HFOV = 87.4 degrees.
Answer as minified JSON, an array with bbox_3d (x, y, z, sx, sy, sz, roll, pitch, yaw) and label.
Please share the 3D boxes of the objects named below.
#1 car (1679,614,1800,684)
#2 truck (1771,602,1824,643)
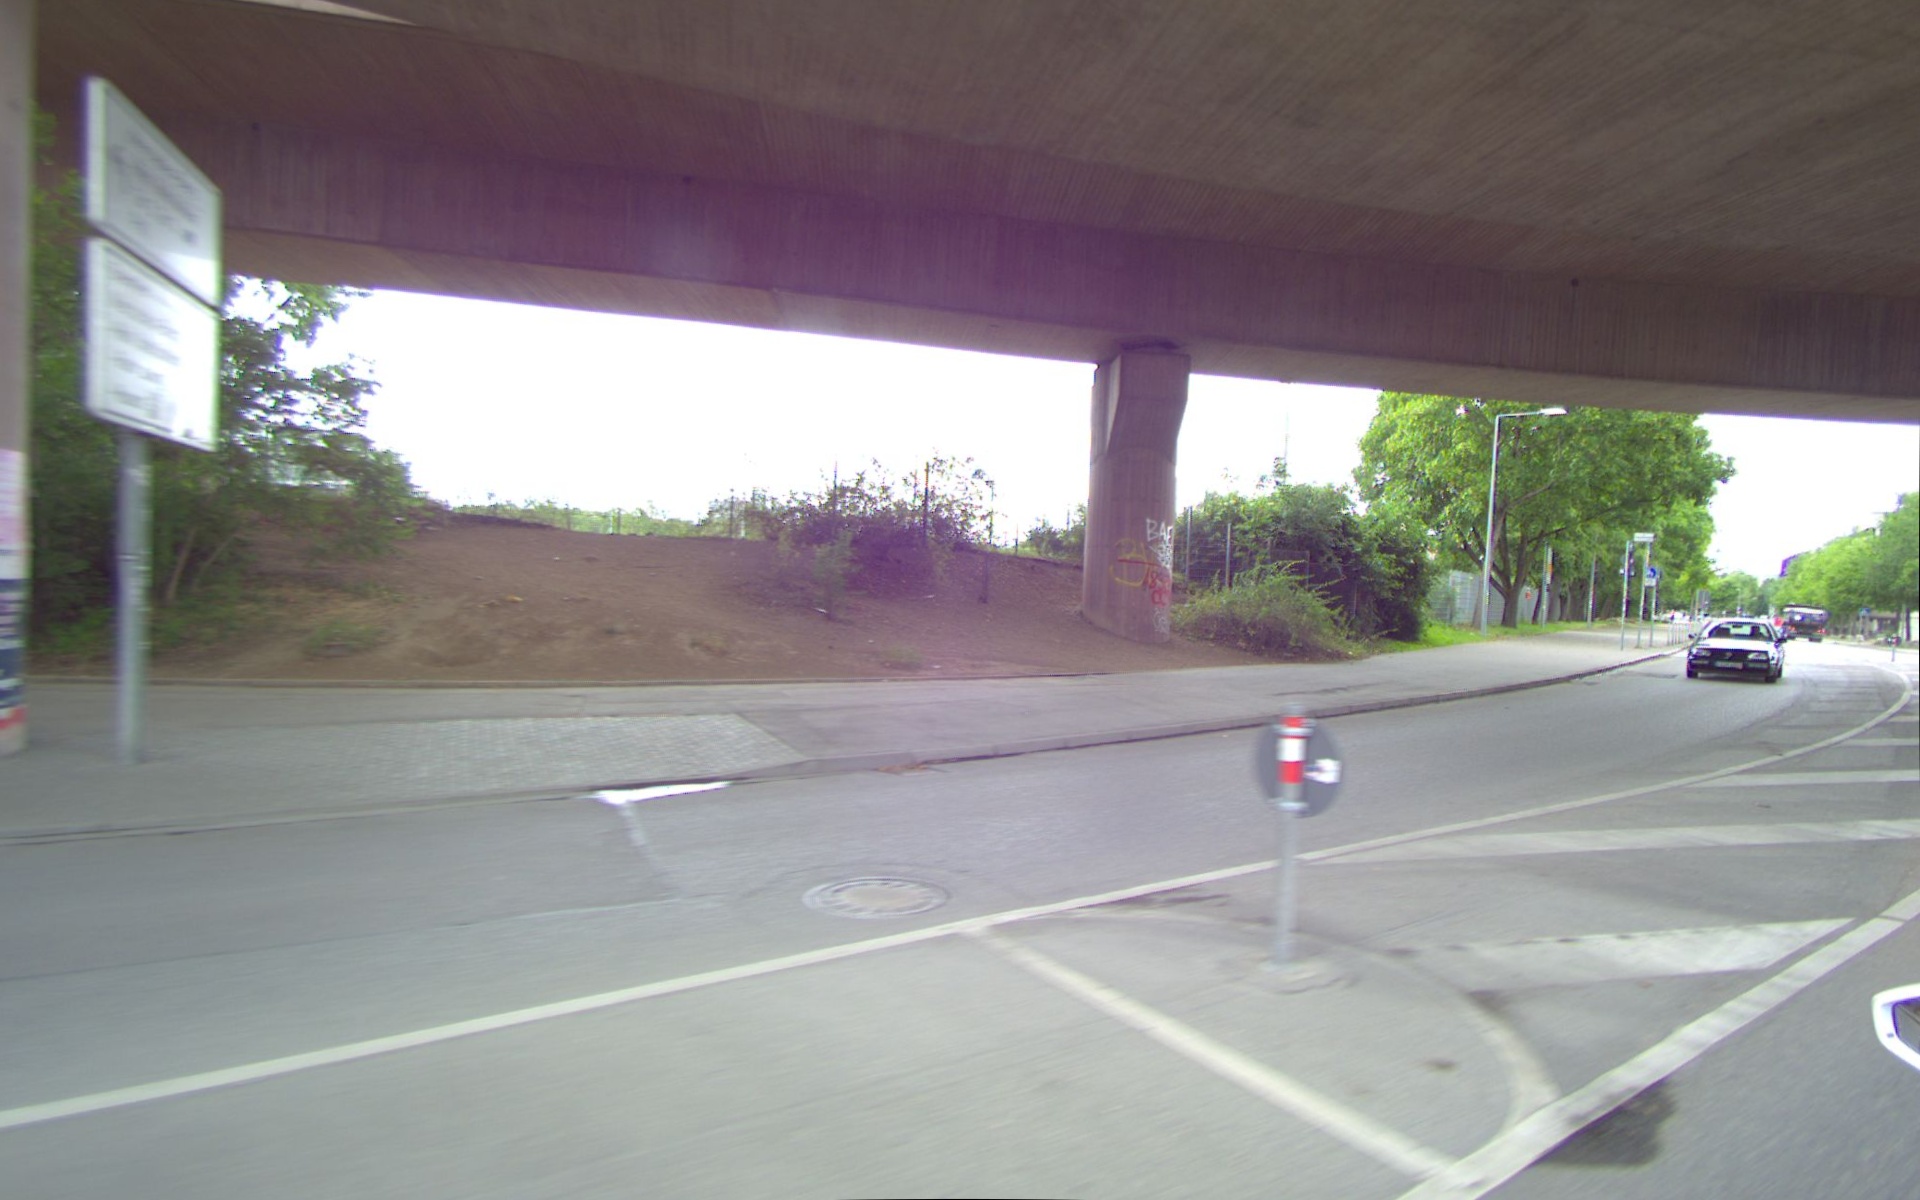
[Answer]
[{"bbox_3d":[18.659,1.128,23.981,3.972,1.450,1.660,2,1,-44],"label":"car"},{"bbox_3d":[76.790,2.112,92.217,2.635,3.605,7.905,0,-2,32],"label":"truck"}]
